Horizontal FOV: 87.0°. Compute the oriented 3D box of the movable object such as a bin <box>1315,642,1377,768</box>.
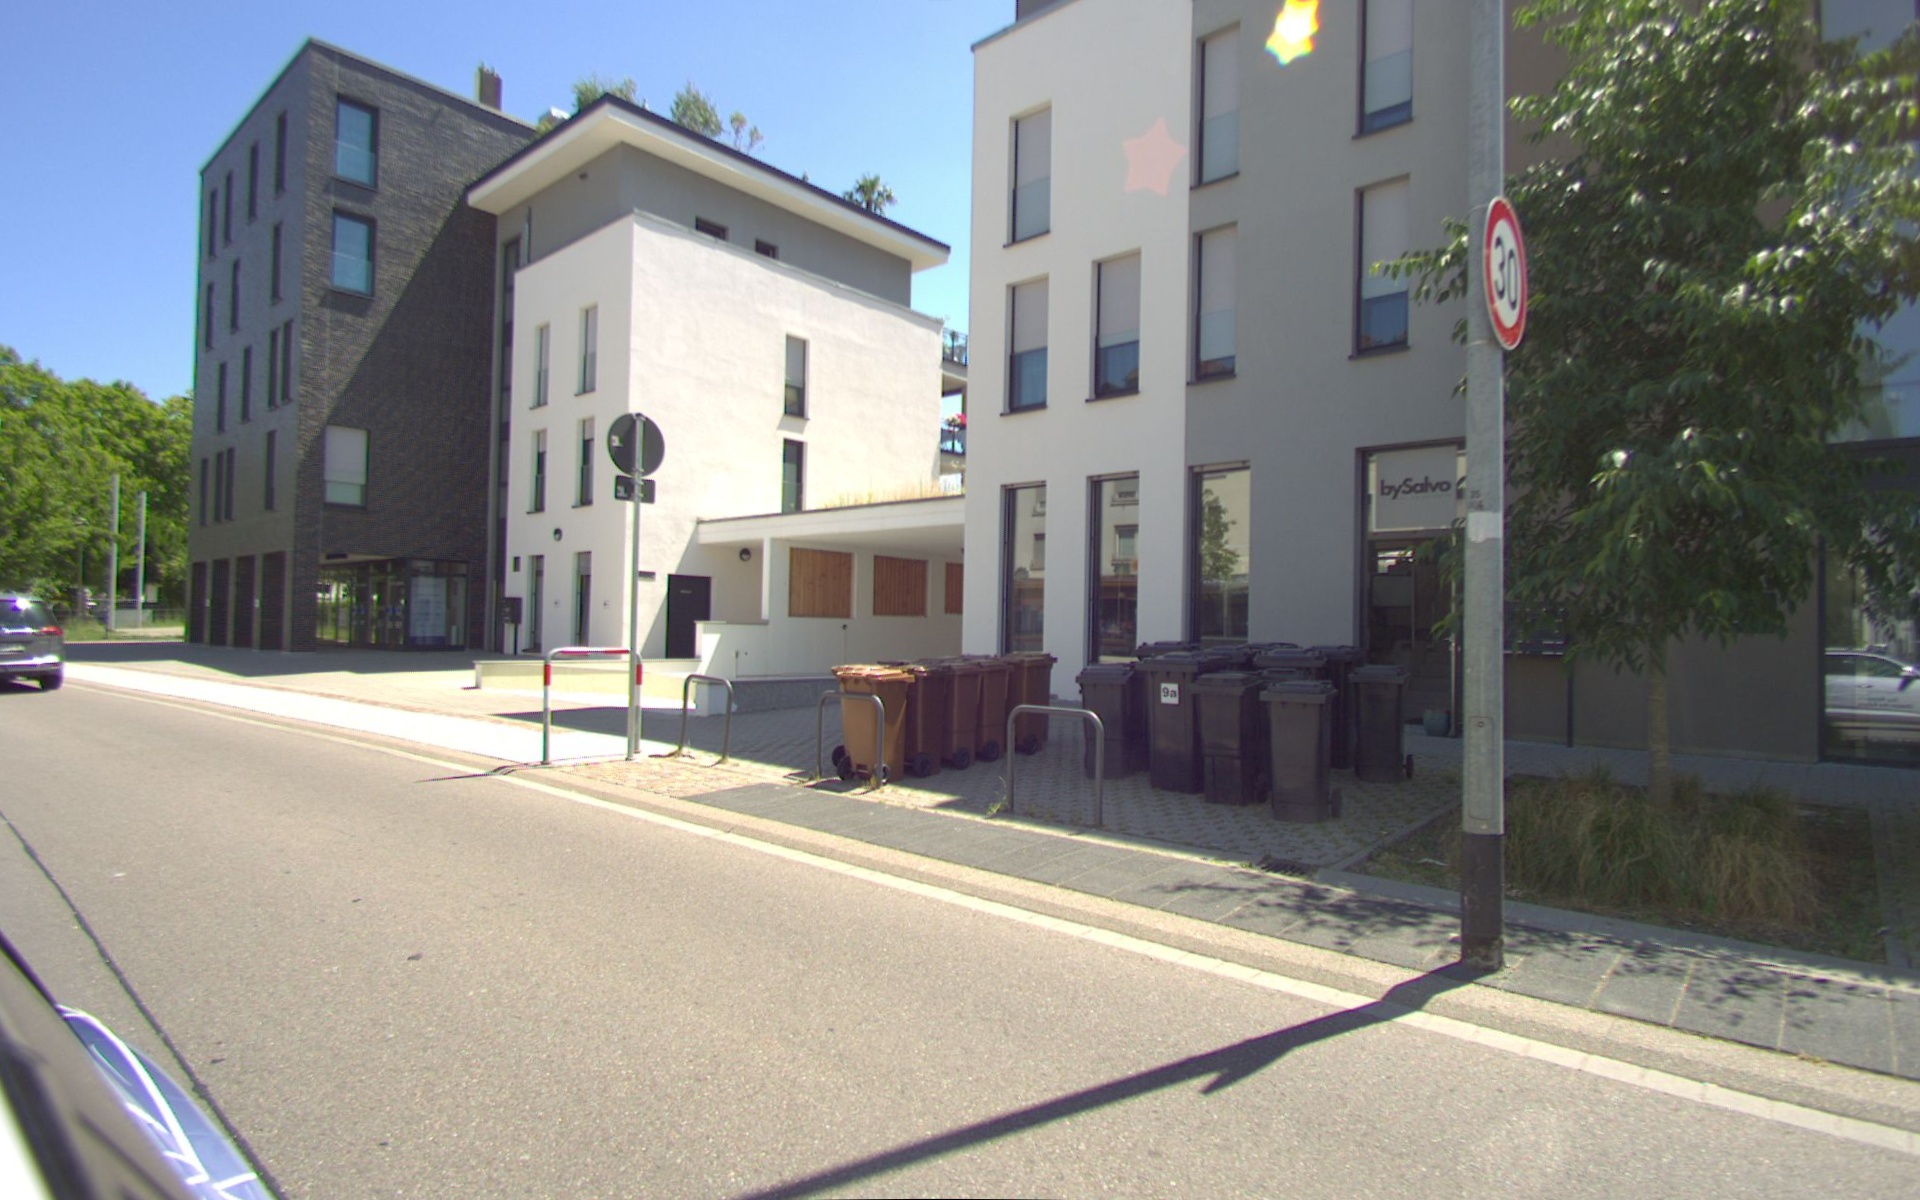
[{"bbox_3d":[3.399,0.899,8.904,0.479,1.047,0.551,0,-2,24],"label":"movable object such as a bin"}]

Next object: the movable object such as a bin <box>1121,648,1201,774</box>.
[{"bbox_3d":[1.813,0.970,9.075,0.579,1.047,0.616,0,-2,25],"label":"movable object such as a bin"}]

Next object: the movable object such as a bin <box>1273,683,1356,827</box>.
[{"bbox_3d":[2.383,1.013,6.783,0.479,0.874,0.551,0,-2,24],"label":"movable object such as a bin"}]

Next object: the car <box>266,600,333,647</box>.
[{"bbox_3d":[-23.760,0.834,36.344,1.672,1.497,4.089,6,-4,-36],"label":"car"}]

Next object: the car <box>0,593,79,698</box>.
[{"bbox_3d":[-17.065,0.716,17.360,4.224,1.671,1.926,0,-1,34],"label":"car"}]

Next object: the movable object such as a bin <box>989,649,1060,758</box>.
[{"bbox_3d":[0.629,0.987,9.861,0.555,1.005,0.399,-1,-2,41],"label":"movable object such as a bin"}]

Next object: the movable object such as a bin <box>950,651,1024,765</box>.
[{"bbox_3d":[0.251,0.989,9.468,0.555,1.005,0.399,-1,-2,41],"label":"movable object such as a bin"}]

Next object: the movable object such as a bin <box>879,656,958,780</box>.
[{"bbox_3d":[-0.358,0.994,8.718,0.555,1.005,0.399,-1,-2,41],"label":"movable object such as a bin"}]

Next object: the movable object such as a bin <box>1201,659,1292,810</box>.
[{"bbox_3d":[2.064,0.942,7.283,0.427,1.005,0.548,-1,-2,43],"label":"movable object such as a bin"}]

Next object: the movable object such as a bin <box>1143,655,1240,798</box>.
[{"bbox_3d":[1.805,0.954,7.864,0.559,1.028,0.549,0,-2,37],"label":"movable object such as a bin"}]

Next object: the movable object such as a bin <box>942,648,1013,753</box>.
[{"bbox_3d":[0.179,0.994,10.200,0.526,1.005,0.478,-1,-2,42],"label":"movable object such as a bin"}]

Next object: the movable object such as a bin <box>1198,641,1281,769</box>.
[{"bbox_3d":[2.456,0.894,8.863,0.601,1.047,0.672,0,-2,24],"label":"movable object such as a bin"}]

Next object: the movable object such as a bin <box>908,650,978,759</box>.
[{"bbox_3d":[-0.166,0.997,9.854,0.523,1.005,0.420,-1,-2,42],"label":"movable object such as a bin"}]

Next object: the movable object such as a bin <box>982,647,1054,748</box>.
[{"bbox_3d":[0.612,1.013,10.660,0.586,1.005,0.479,0,-2,35],"label":"movable object such as a bin"}]

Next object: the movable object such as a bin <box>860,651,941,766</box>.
[{"bbox_3d":[-0.556,0.997,9.483,0.587,1.005,0.478,-1,-2,41],"label":"movable object such as a bin"}]

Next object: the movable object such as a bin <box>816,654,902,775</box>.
[{"bbox_3d":[-0.898,0.997,9.027,0.587,1.005,0.478,0,-2,38],"label":"movable object such as a bin"}]

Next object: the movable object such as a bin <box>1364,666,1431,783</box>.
[{"bbox_3d":[3.537,0.985,8.176,0.479,0.874,0.551,0,-2,24],"label":"movable object such as a bin"}]

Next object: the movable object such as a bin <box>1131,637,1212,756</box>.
[{"bbox_3d":[2.092,0.927,9.973,0.644,1.104,0.688,0,-2,24],"label":"movable object such as a bin"}]

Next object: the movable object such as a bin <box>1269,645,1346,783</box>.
[{"bbox_3d":[2.833,0.899,8.232,0.547,1.047,0.572,0,-2,25],"label":"movable object such as a bin"}]

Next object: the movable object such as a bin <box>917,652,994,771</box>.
[{"bbox_3d":[-0.038,0.981,9.077,0.555,1.005,0.399,-1,-2,41],"label":"movable object such as a bin"}]

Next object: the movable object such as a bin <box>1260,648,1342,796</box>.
[{"bbox_3d":[2.599,0.899,7.694,0.542,1.047,0.551,0,-2,25],"label":"movable object such as a bin"}]

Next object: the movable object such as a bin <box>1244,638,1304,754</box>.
[{"bbox_3d":[2.982,0.892,9.601,0.479,1.047,0.551,0,-2,24],"label":"movable object such as a bin"}]

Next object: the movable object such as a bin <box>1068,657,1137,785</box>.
[{"bbox_3d":[1.200,0.992,8.471,0.402,1.005,0.550,0,-2,28],"label":"movable object such as a bin"}]

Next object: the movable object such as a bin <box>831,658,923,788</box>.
[{"bbox_3d":[-0.684,0.993,8.385,0.587,1.005,0.478,-1,-2,41],"label":"movable object such as a bin"}]
